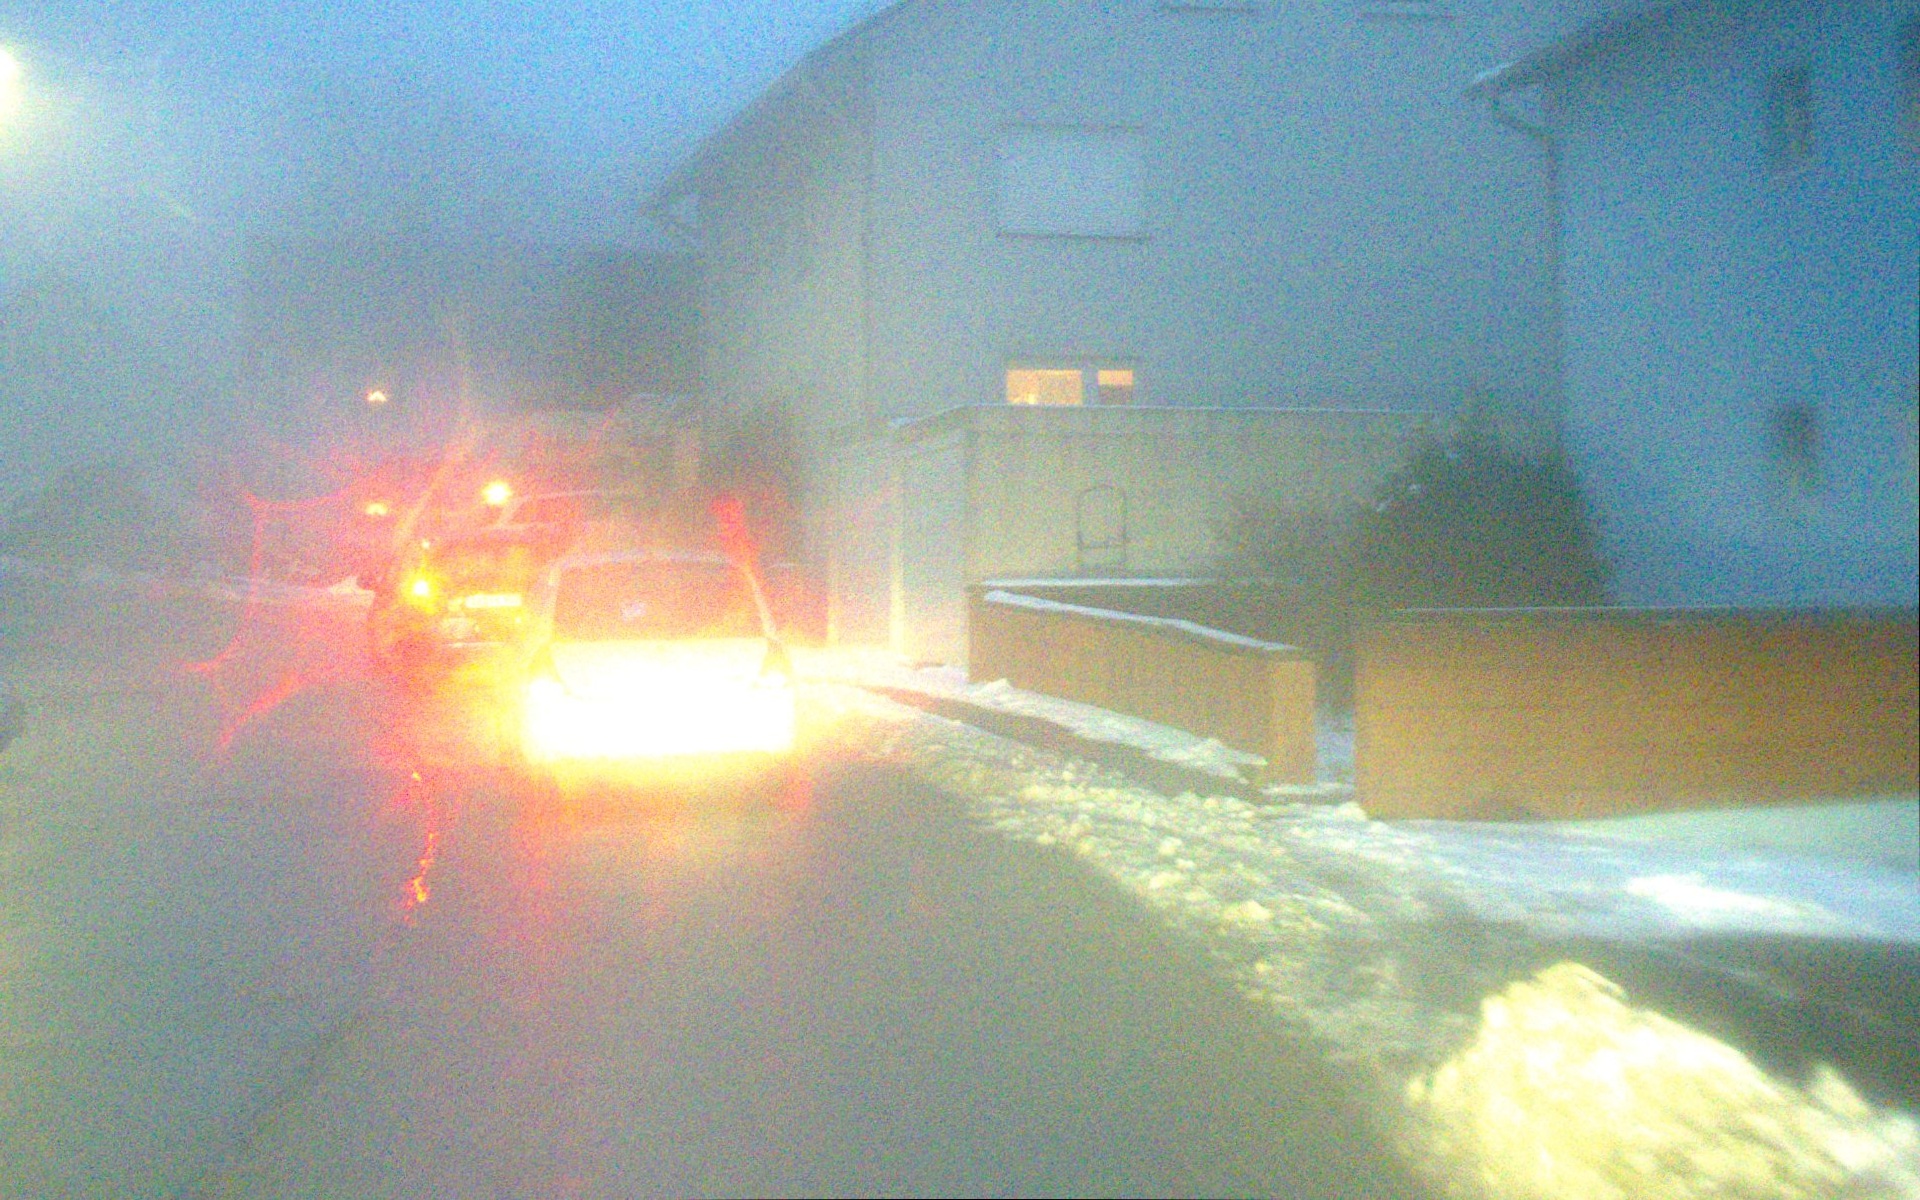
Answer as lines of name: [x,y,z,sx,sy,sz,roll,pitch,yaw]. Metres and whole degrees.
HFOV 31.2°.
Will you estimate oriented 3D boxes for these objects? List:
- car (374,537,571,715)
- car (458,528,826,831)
car: [-4.820,0.261,33.682,1.645,1.590,3.700,2,-1,-11]
car: [-1.976,0.449,20.438,1.645,1.590,3.700,2,-1,-13]
